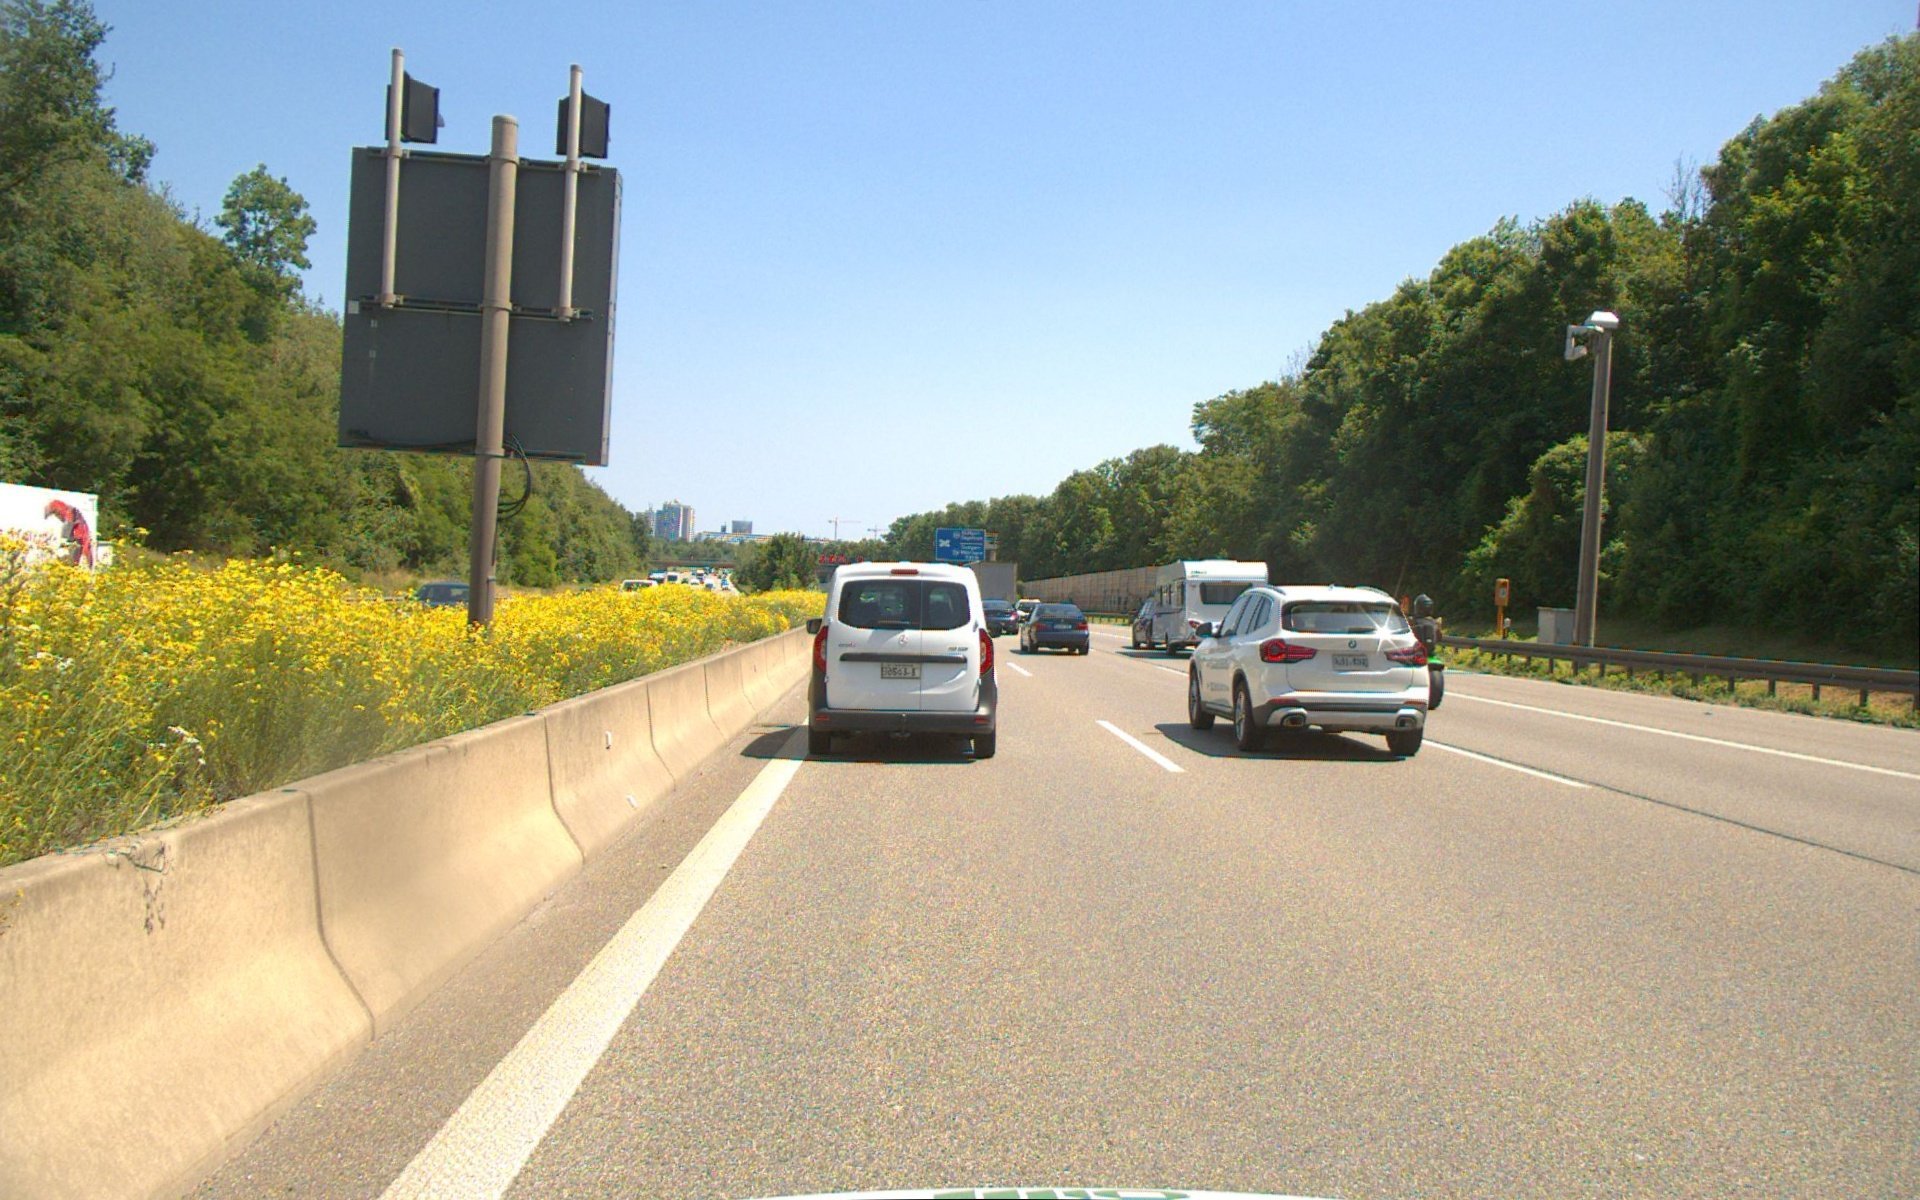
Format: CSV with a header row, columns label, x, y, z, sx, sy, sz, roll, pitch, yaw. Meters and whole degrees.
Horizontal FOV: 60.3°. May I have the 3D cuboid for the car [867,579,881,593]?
label,x,y,z,sx,sy,sz,roll,pitch,yaw
car,-13.411,-2.134,256.974,1.953,2.049,3.999,1,0,-1

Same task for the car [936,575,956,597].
label,x,y,z,sx,sy,sz,roll,pitch,yaw
car,-1.385,-1.363,163.124,1.953,2.049,3.999,1,0,-1

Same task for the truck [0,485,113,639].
label,x,y,z,sx,sy,sz,roll,pitch,yaw
truck,-20.201,-0.782,33.586,2.358,3.058,7.456,1,0,-2

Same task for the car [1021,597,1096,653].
label,x,y,z,sx,sy,sz,roll,pitch,yaw
car,2.702,0.658,46.131,1.787,1.449,3.999,1,0,-1

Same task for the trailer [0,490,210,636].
label,x,y,z,sx,sy,sz,roll,pitch,yaw
trailer,-20.392,-0.813,38.846,2.358,3.058,7.456,1,0,-2

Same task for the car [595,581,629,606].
label,x,y,z,sx,sy,sz,roll,pitch,yaw
car,-25.654,-0.482,121.906,1.955,1.791,3.995,1,0,-5

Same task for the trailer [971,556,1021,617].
label,x,y,z,sx,sy,sz,roll,pitch,yaw
trailer,2.456,-0.922,116.052,3.019,4.055,10.321,1,0,-1

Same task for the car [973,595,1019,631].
label,x,y,z,sx,sy,sz,roll,pitch,yaw
car,1.490,0.525,70.229,1.787,1.449,3.999,1,0,-1

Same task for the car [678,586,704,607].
label,x,y,z,sx,sy,sz,roll,pitch,yaw
car,-22.625,-0.310,139.402,1.761,1.747,3.997,1,0,-4

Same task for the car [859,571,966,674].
label,x,y,z,sx,sy,sz,roll,pitch,yaw
car,-0.914,0.412,32.908,1.953,1.892,3.999,1,0,-1

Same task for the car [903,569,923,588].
label,x,y,z,sx,sy,sz,roll,pitch,yaw
car,-5.172,-2.299,180.193,1.954,2.049,3.996,1,0,-5

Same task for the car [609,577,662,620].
label,x,y,z,sx,sy,sz,roll,pitch,yaw
car,-16.251,-0.087,82.987,1.954,2.049,3.998,1,0,-3

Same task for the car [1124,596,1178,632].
label,x,y,z,sx,sy,sz,roll,pitch,yaw
car,8.122,0.587,70.580,1.787,1.449,3.999,1,0,-1

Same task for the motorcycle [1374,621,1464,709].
label,x,y,z,sx,sy,sz,roll,pitch,yaw
motorcycle,6.963,0.957,25.198,0.841,1.202,2.278,2,1,3

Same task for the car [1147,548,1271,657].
label,x,y,z,sx,sy,sz,roll,pitch,yaw
car,6.950,0.054,46.848,2.428,2.814,6.218,1,0,-1

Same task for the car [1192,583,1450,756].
label,x,y,z,sx,sy,sz,roll,pitch,yaw
car,3.738,0.666,17.823,1.833,1.636,3.877,1,0,-1

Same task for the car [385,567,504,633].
label,x,y,z,sx,sy,sz,roll,pitch,yaw
car,-12.858,-0.008,41.479,1.805,1.545,3.868,1,0,-1

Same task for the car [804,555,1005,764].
label,x,y,z,sx,sy,sz,roll,pitch,yaw
car,-0.547,0.526,16.826,1.766,1.839,3.999,1,0,-2

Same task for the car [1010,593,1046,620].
label,x,y,z,sx,sy,sz,roll,pitch,yaw
car,3.850,0.371,94.050,1.787,1.449,3.999,1,0,-1

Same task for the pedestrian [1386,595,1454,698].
label,x,y,z,sx,sy,sz,roll,pitch,yaw
pedestrian,6.961,0.689,25.059,0.834,1.504,0.638,2,1,3

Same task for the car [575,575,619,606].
label,x,y,z,sx,sy,sz,roll,pitch,yaw
car,-22.009,-0.562,100.329,1.954,1.786,3.997,1,0,-3

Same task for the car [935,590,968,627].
label,x,y,z,sx,sy,sz,roll,pitch,yaw
car,-0.504,0.468,94.509,1.787,2.024,3.999,1,0,-1
